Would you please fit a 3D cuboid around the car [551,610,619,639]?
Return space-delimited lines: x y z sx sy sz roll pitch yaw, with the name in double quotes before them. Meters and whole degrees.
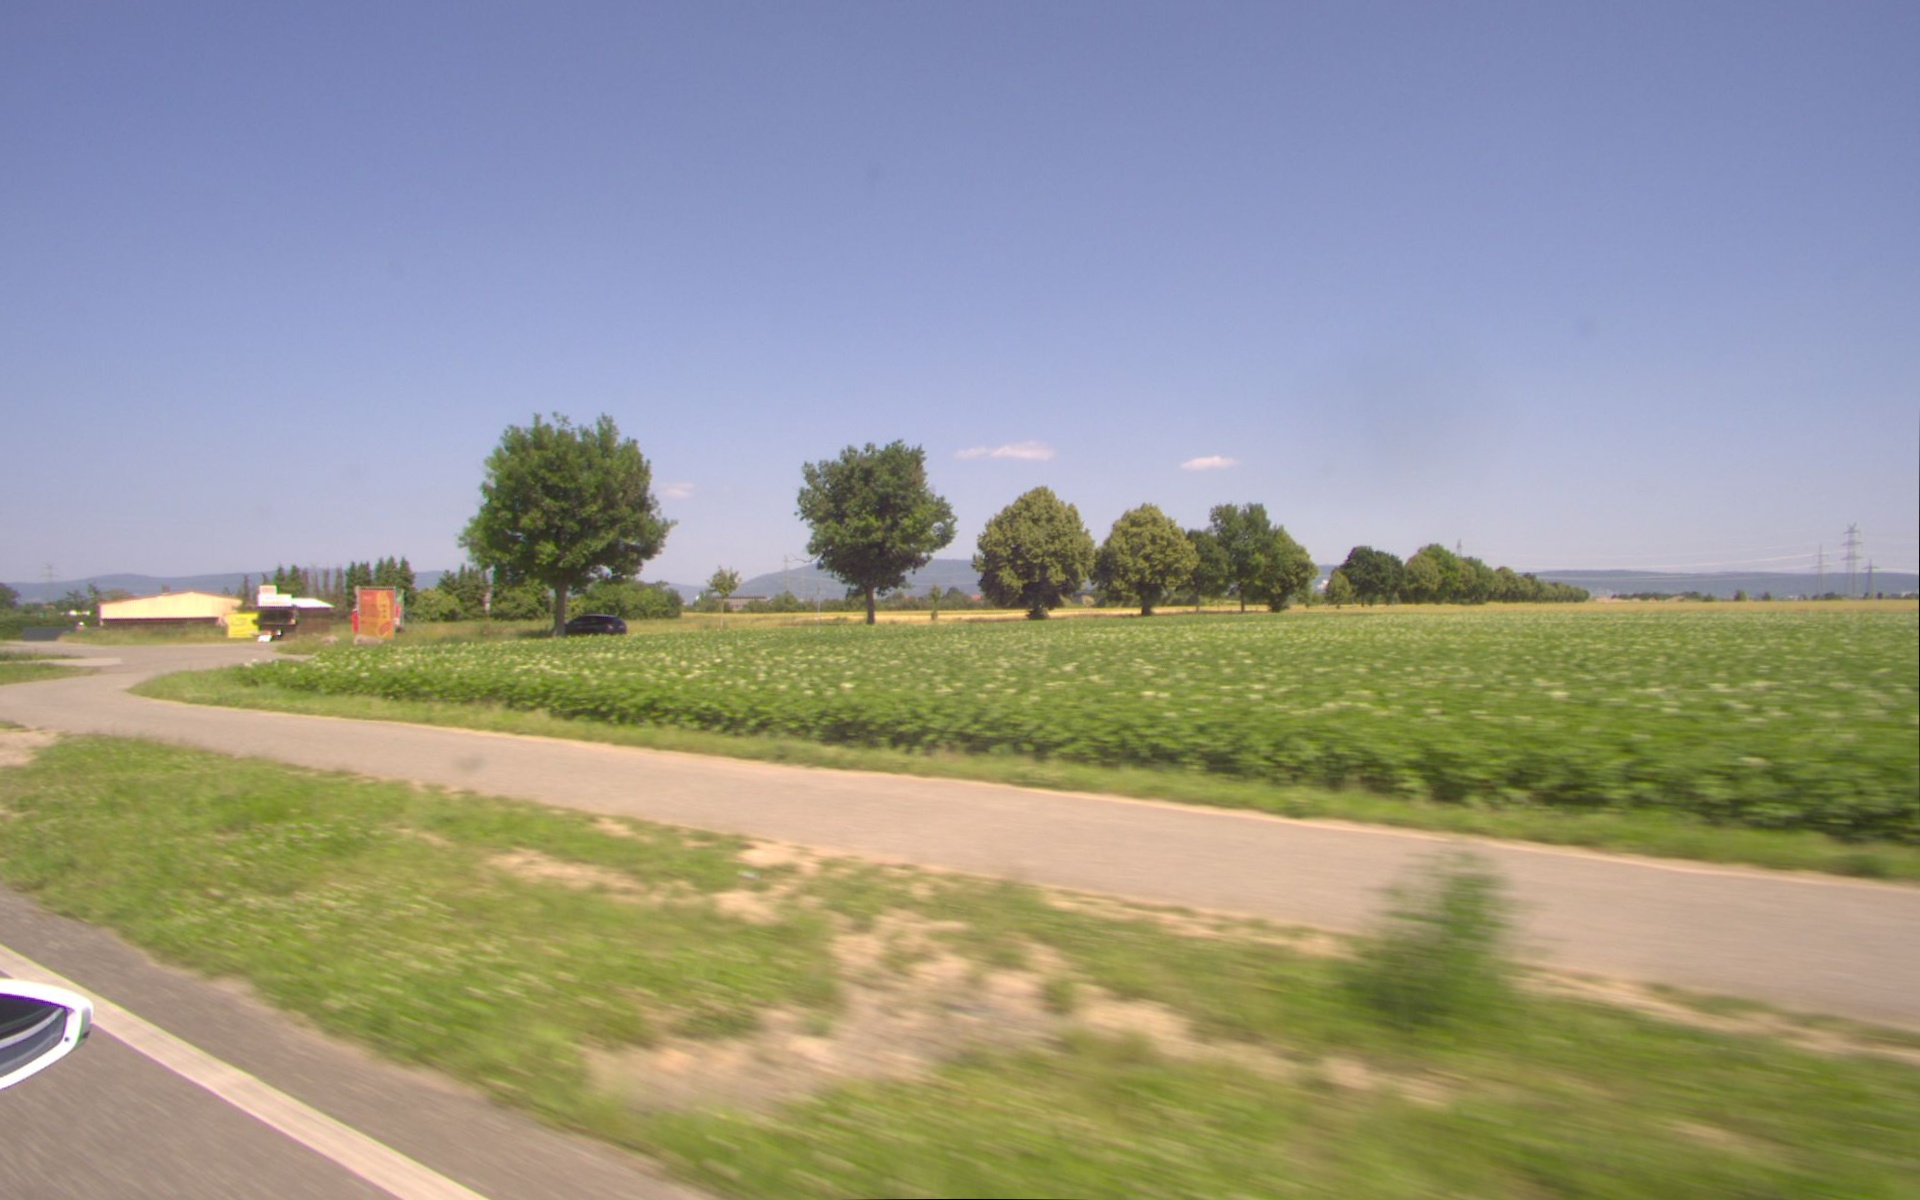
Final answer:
"car" -20.936 1.352 55.798 3.831 1.547 1.751 0 0 36
